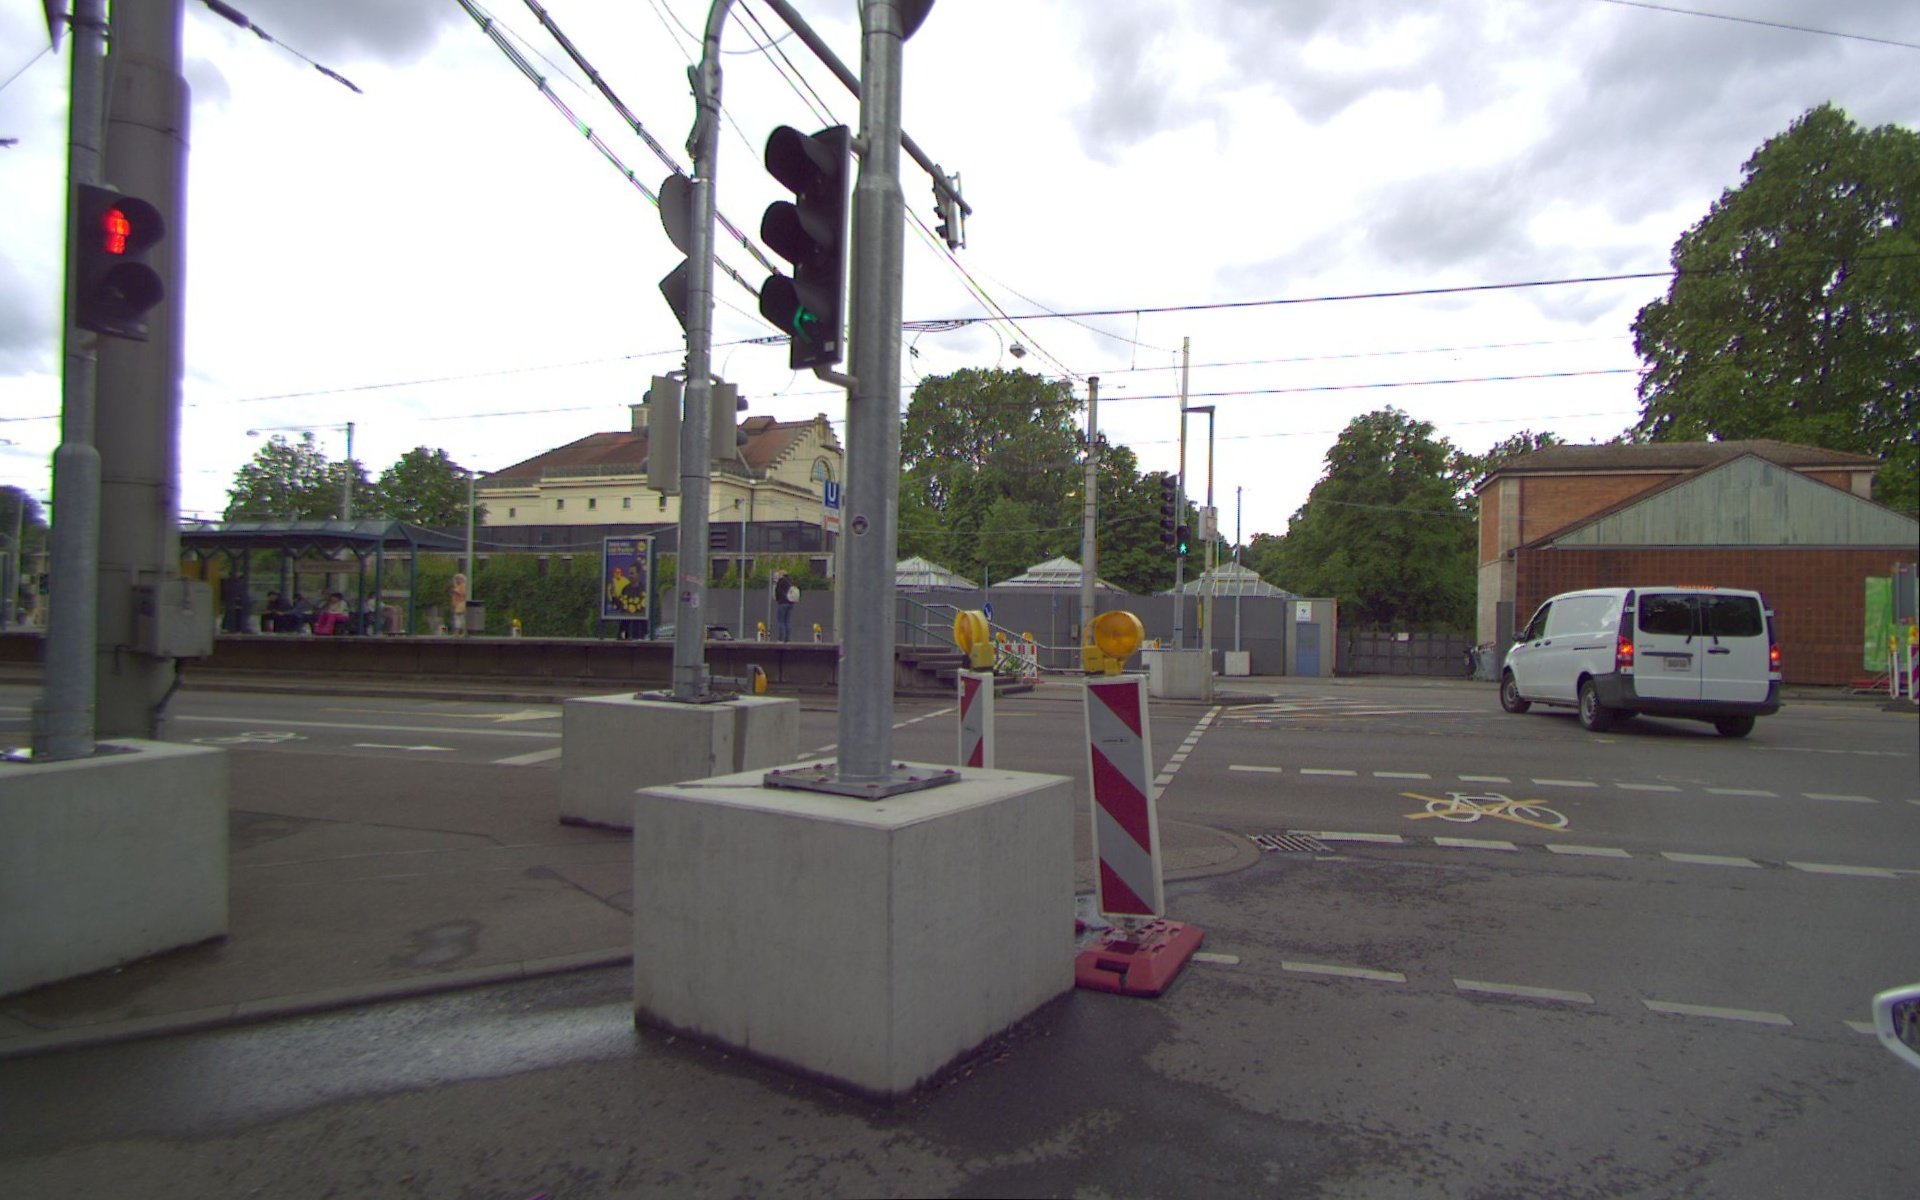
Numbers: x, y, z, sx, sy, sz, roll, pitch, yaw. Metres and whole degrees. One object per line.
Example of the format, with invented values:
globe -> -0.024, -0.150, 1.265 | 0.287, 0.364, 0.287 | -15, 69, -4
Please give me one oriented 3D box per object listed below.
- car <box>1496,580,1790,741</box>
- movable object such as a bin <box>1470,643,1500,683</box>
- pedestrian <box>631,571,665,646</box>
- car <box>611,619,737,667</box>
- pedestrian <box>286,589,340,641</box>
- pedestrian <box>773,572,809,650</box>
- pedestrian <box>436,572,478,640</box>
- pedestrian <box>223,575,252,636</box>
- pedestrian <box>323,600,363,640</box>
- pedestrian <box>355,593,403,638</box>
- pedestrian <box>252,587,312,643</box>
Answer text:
car -> 9.489, 0.799, 14.492 | 1.884, 1.926, 4.705 | -1, -2, 13
movable object such as a bin -> 18.521, 2.213, 35.431 | 0.834, 1.358, 0.801 | 0, -2, 21
pedestrian -> -7.205, 0.206, 23.205 | 0.586, 1.721, 0.459 | 0, -2, 18
car -> -10.056, 1.505, 35.410 | 3.921, 1.572, 1.758 | 1, -3, 19
pedestrian -> -16.406, 0.383, 25.477 | 0.758, 1.286, 0.810 | 1, -2, 19
pedestrian -> -3.578, 0.248, 21.229 | 0.515, 1.631, 0.599 | 0, -2, 18
pedestrian -> -12.809, 0.175, 25.596 | 0.530, 1.698, 0.779 | 0, -2, 18
pedestrian -> -20.106, 0.156, 27.941 | 0.475, 1.662, 0.593 | 3, -2, -25
pedestrian -> -15.529, 0.508, 25.279 | 0.503, 0.992, 0.663 | 0, -2, 18
pedestrian -> -15.317, 0.424, 26.491 | 0.638, 1.137, 0.822 | 1, -2, 19
pedestrian -> -17.382, 0.395, 25.760 | 0.917, 1.390, 0.822 | 1, -2, 19
